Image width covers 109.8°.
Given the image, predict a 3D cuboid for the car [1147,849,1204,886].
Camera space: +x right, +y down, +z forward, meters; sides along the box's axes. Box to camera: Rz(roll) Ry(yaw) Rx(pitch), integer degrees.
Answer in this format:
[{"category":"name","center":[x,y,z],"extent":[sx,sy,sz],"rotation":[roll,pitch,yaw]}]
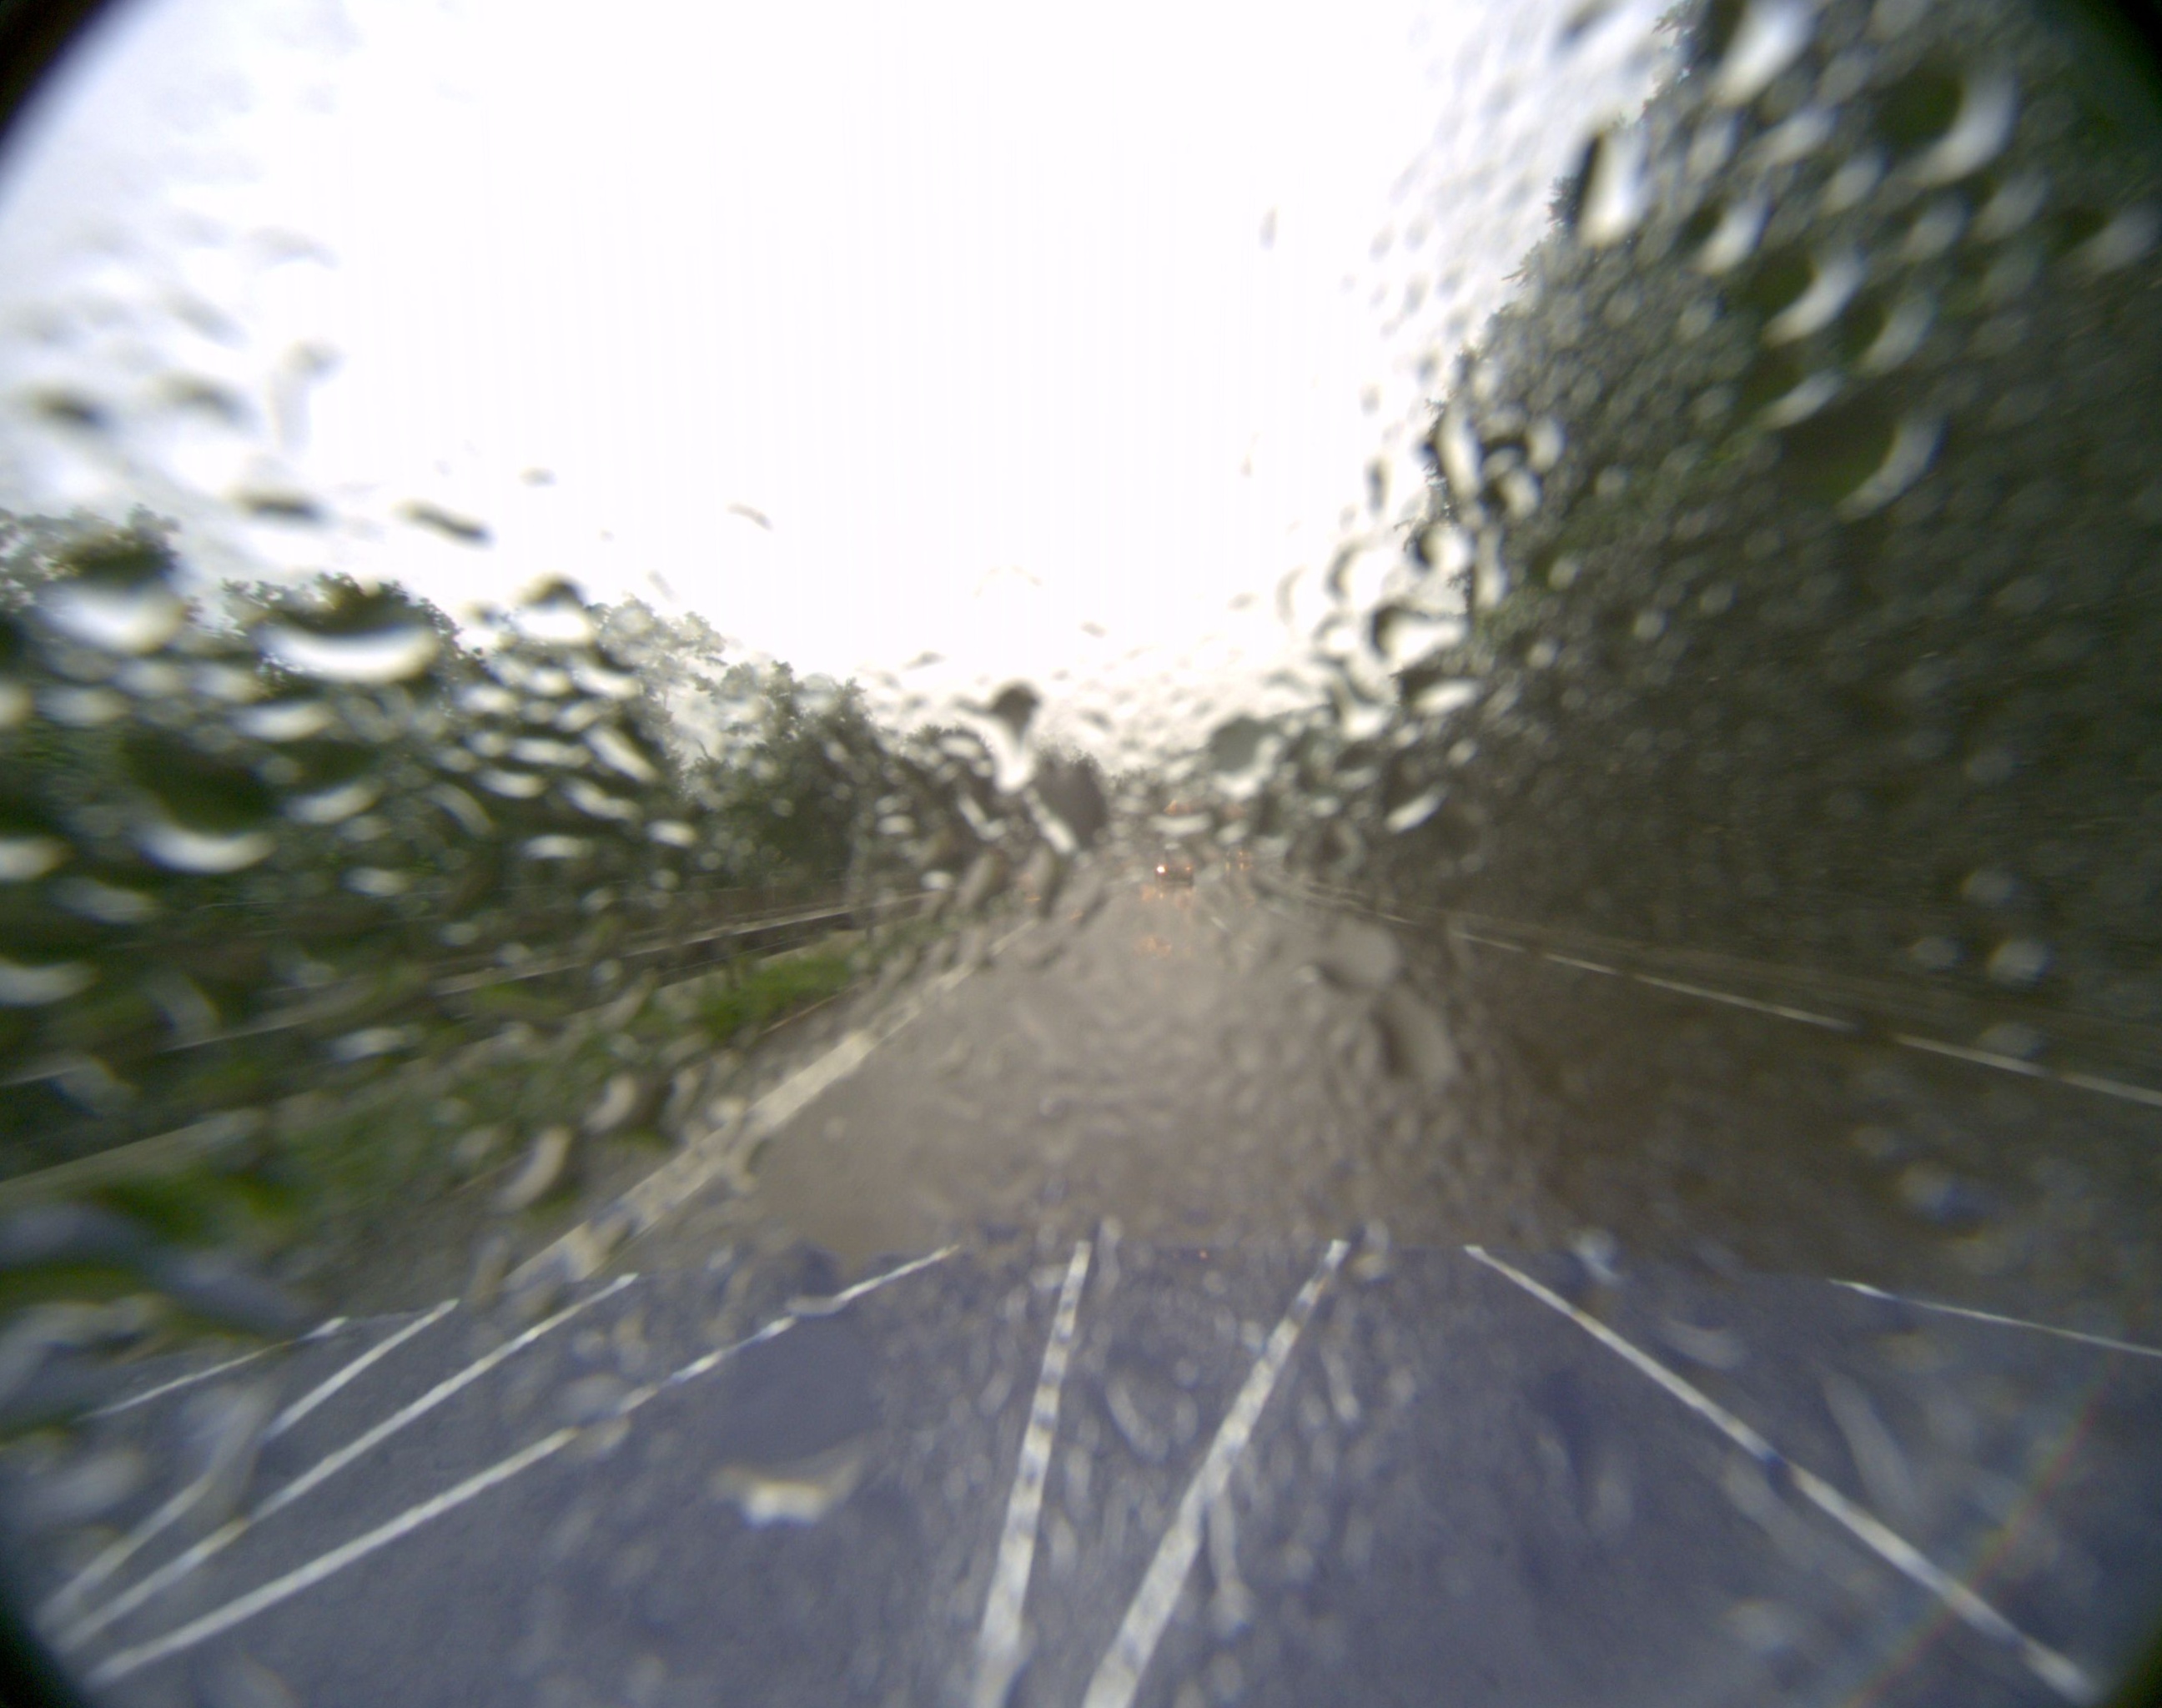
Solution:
[{"category":"car","center":[4.696,0.602,36.876],"extent":[2.358,1.549,5.503],"rotation":[-3,0,10]}]

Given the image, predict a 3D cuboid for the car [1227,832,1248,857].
[{"category":"car","center":[19.450,-1.210,94.238],"extent":[1.739,3.008,4.006],"rotation":[-1,1,22]}]
